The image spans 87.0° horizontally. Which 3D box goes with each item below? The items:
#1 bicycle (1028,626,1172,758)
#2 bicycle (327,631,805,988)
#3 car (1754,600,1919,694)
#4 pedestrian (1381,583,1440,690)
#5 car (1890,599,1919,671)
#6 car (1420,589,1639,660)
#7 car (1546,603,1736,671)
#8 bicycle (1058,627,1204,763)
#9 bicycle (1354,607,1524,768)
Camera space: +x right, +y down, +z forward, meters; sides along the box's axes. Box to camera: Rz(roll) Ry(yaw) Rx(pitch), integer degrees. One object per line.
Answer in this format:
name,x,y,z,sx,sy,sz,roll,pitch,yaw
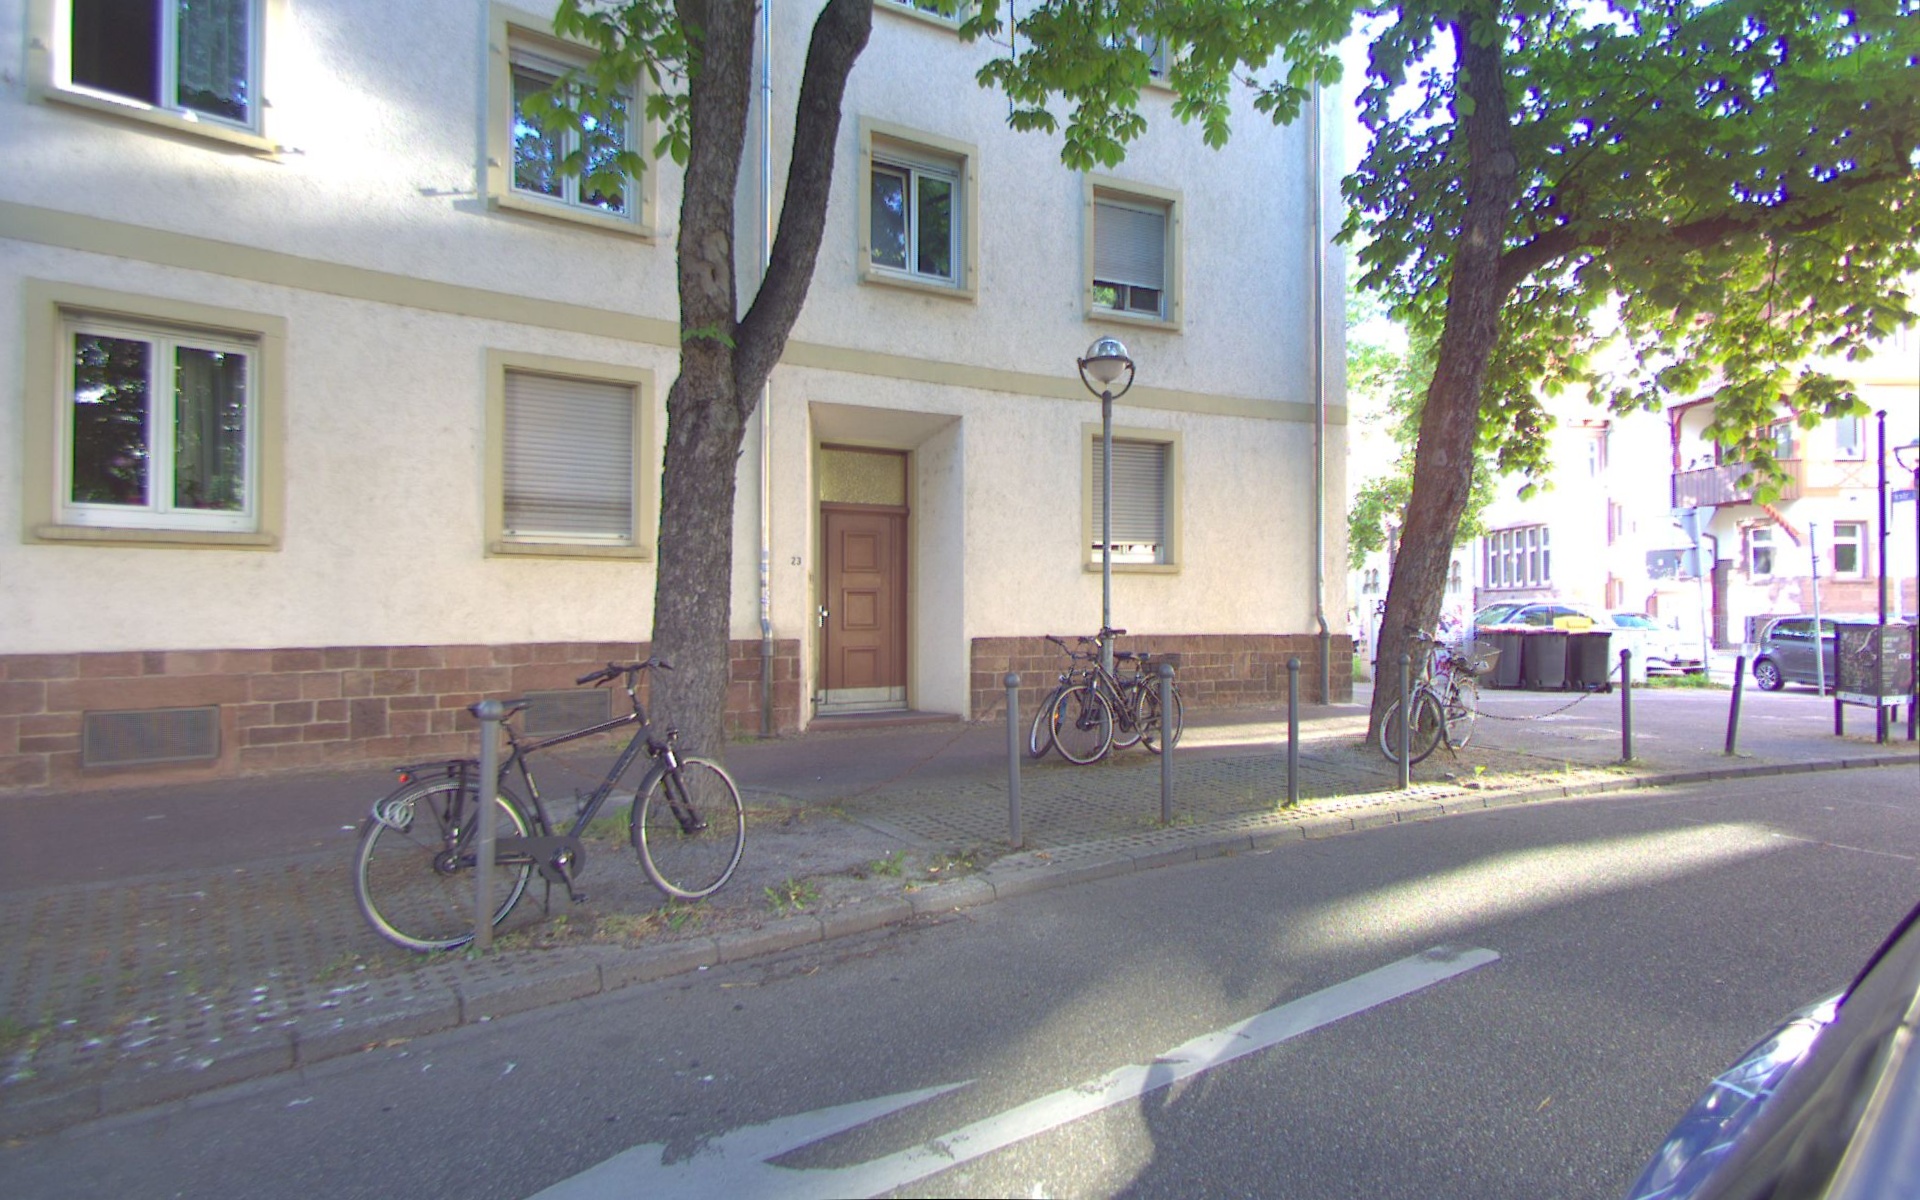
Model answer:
bicycle,1.321,0.805,9.362,1.607,1.108,0.334,0,-1,-41
bicycle,-1.683,0.782,4.564,1.882,1.238,0.718,0,-1,-43
car,16.870,0.812,18.318,1.663,1.572,4.053,0,-1,-3
pedestrian,6.987,0.542,15.720,0.632,1.612,0.941,1,0,12
car,21.646,0.767,21.093,1.463,1.559,3.217,1,0,-3
car,12.175,0.520,21.783,3.731,1.443,1.676,0,-1,-1
car,16.932,0.889,25.441,1.771,1.572,4.187,0,-1,-3
bicycle,1.565,0.808,9.109,1.607,1.108,0.334,0,-1,-41
bicycle,4.431,0.729,9.299,1.871,1.321,0.766,0,-1,-43
